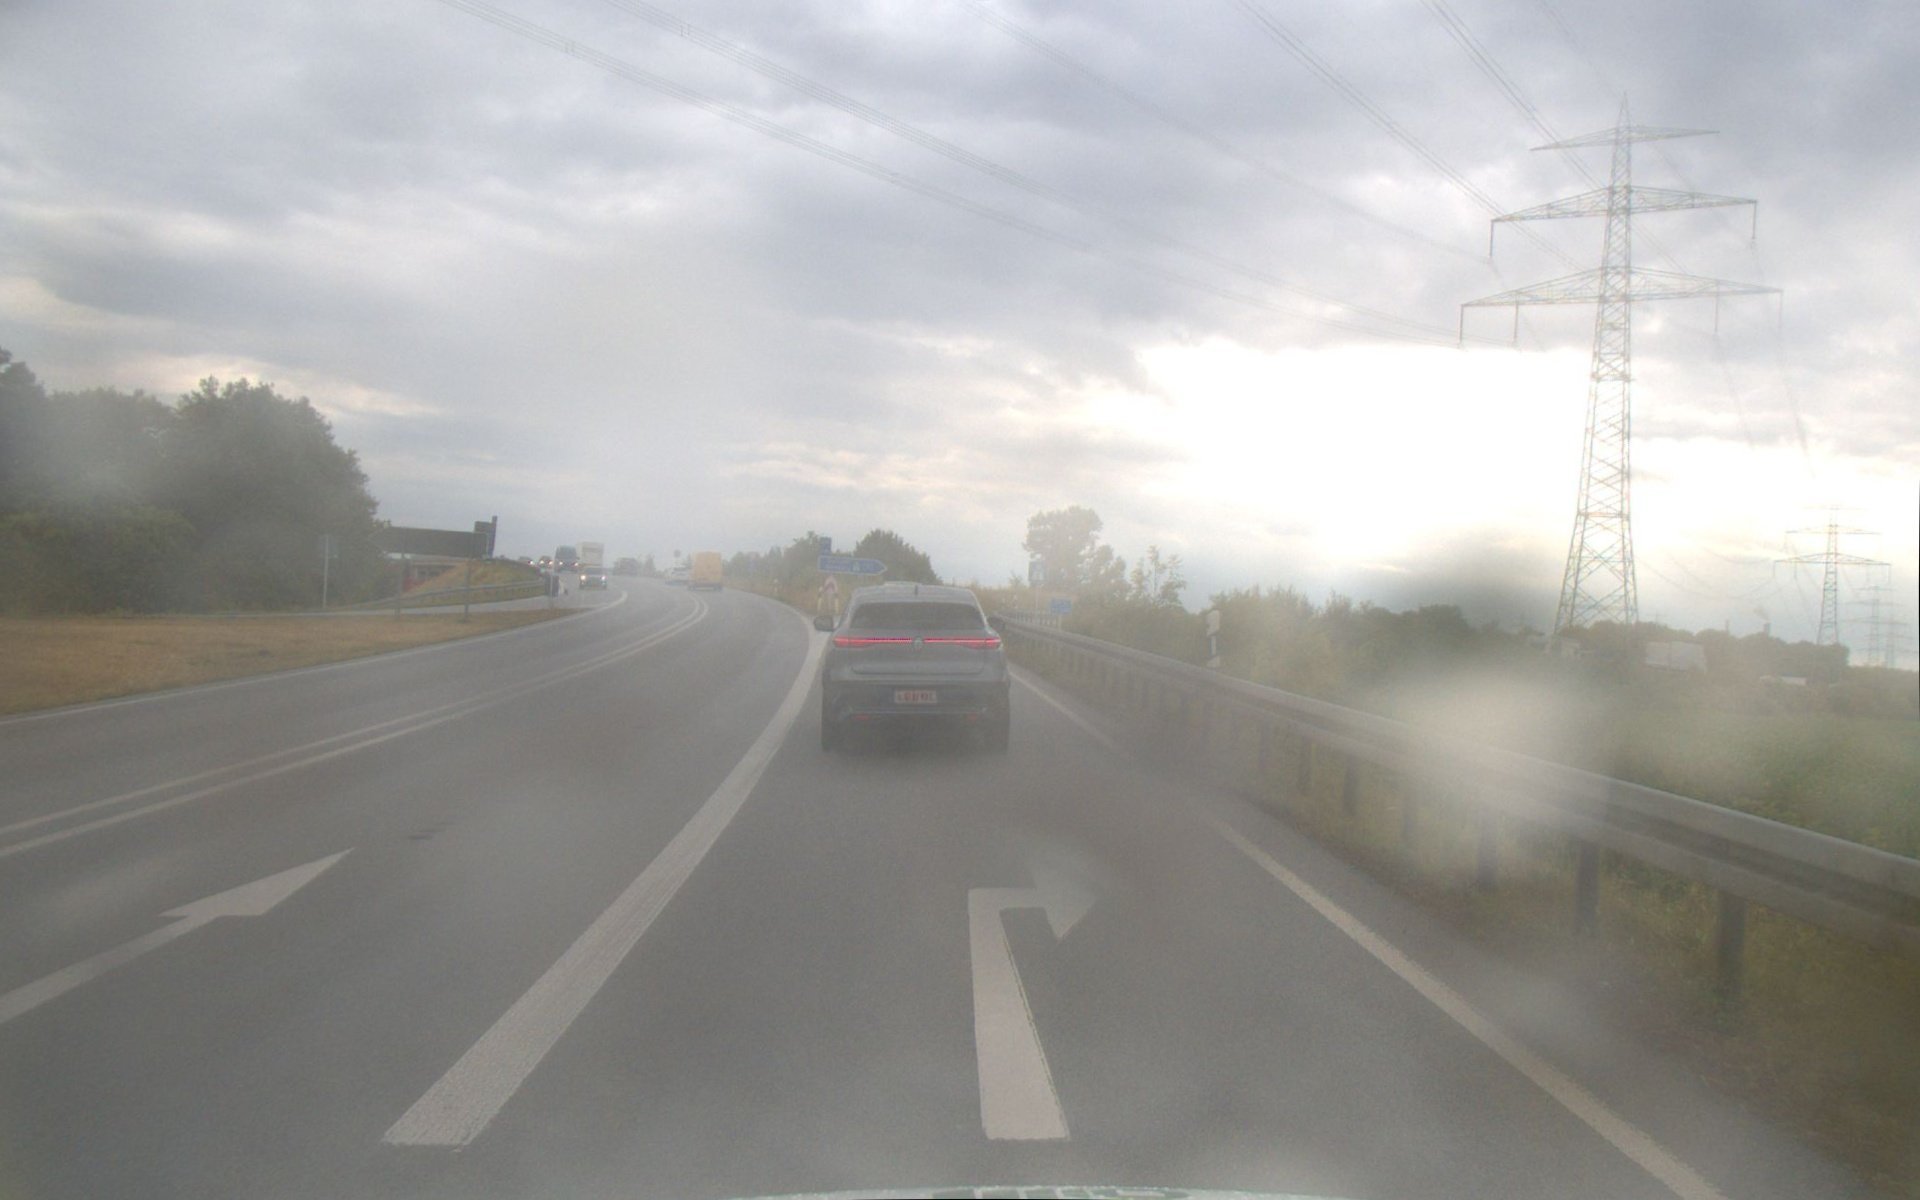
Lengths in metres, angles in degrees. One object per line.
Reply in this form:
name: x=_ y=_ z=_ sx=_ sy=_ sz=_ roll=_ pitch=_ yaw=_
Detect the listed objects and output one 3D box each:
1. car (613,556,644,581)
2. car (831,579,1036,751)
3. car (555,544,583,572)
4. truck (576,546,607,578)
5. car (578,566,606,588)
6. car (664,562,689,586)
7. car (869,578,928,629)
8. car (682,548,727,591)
car: x=-34.046 y=-3.222 z=169.892 sx=2.561 sy=2.290 sz=5.508 roll=2 pitch=-2 yaw=-17
car: x=-0.268 y=0.590 z=16.382 sx=1.755 sy=1.466 sz=3.999 roll=1 pitch=-1 yaw=-1
car: x=-39.571 y=-4.238 z=167.375 sx=2.314 sy=2.748 sz=6.963 roll=2 pitch=1 yaw=-16
truck: x=-43.886 y=-4.496 z=196.951 sx=2.997 sy=3.444 sz=7.607 roll=2 pitch=-2 yaw=-17
car: x=-23.667 y=-1.483 z=106.422 sx=1.714 sy=1.389 sz=4.037 roll=0 pitch=2 yaw=-13
car: x=-22.198 y=-2.018 z=129.765 sx=1.758 sy=1.717 sz=3.992 roll=2 pitch=-2 yaw=-8
car: x=-2.040 y=0.117 z=53.974 sx=1.756 sy=1.466 sz=3.997 roll=5 pitch=-1 yaw=-3
car: x=-17.254 y=-2.024 z=111.517 sx=2.528 sy=2.773 sz=7.174 roll=1 pitch=1 yaw=-12
